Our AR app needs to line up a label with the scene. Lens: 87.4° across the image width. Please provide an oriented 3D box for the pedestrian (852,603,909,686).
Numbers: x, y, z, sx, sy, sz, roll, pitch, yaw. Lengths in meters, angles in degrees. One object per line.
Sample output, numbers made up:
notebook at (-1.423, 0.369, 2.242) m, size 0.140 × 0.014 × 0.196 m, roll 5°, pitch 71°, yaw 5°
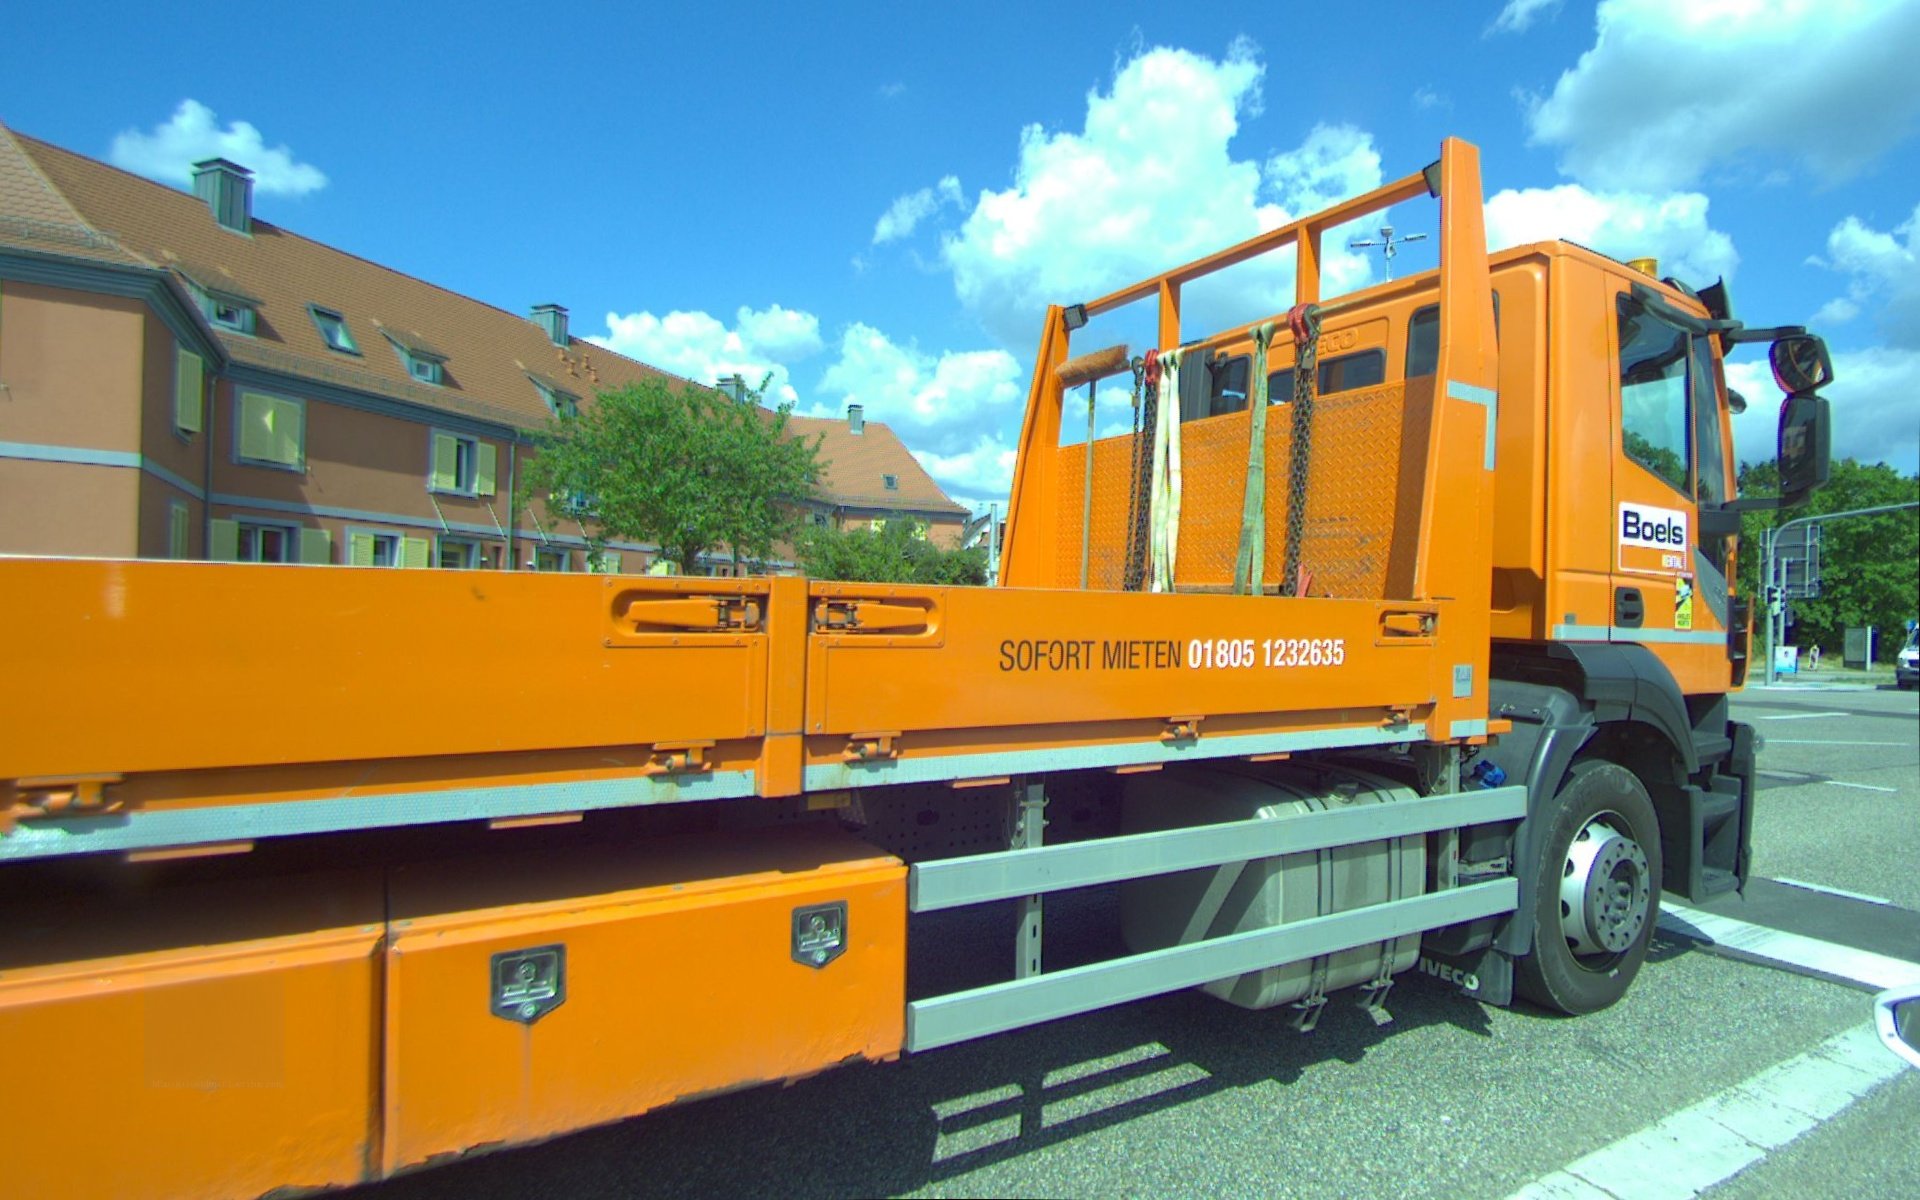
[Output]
pedestrian at (-1.591, 0.881, 20.076) m, size 0.842 × 1.604 × 0.692 m, roll 2°, pitch 1°, yaw -32°

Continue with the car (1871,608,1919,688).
car at (33.213, 1.655, 33.439) m, size 5.889 × 2.504 × 2.166 m, roll 3°, pitch 1°, yaw -26°

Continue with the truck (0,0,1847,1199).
truck at (-1.727, -0.391, 2.766) m, size 10.944 × 3.459 × 3.054 m, roll 3°, pitch 1°, yaw -31°

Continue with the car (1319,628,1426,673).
car at (17.530, 2.101, 42.697) m, size 3.928 × 1.550 × 1.996 m, roll 3°, pitch 1°, yaw 30°
